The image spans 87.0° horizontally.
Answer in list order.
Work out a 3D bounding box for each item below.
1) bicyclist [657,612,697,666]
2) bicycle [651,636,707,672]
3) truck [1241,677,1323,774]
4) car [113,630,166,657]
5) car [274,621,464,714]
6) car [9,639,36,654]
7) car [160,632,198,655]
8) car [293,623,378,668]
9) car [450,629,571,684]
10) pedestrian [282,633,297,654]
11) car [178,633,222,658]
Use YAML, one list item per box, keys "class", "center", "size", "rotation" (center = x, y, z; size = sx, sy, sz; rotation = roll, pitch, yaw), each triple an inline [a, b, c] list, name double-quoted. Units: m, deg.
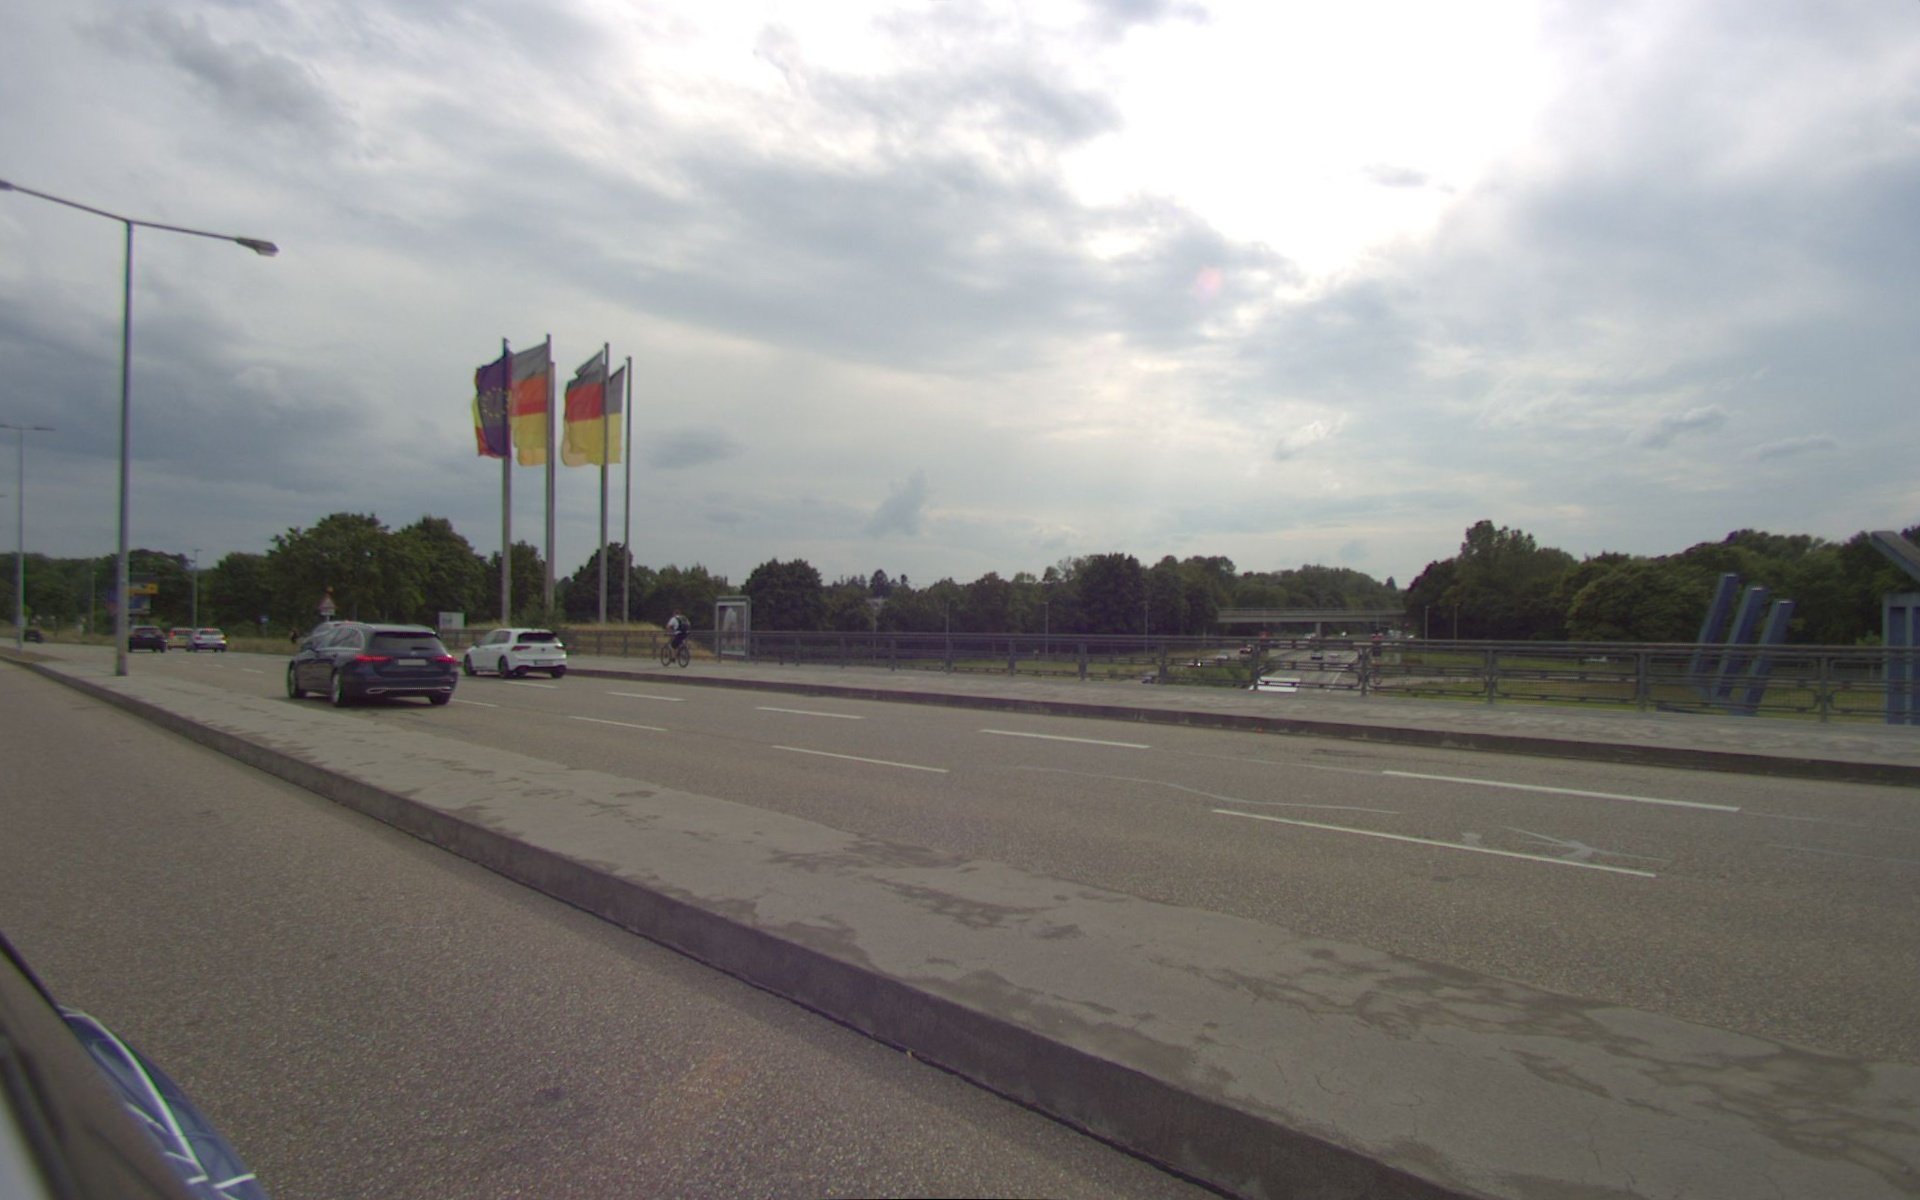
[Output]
- class: "bicyclist"
  center: [-8.851, 1.217, 31.637]
  size: [0.976, 1.639, 0.786]
  rotation: [-1, 0, 41]
- class: "bicycle"
  center: [-8.782, 1.668, 31.581]
  size: [2.059, 1.057, 0.699]
  rotation: [-1, -1, 41]
- class: "truck"
  center: [19.707, 7.241, 61.233]
  size: [3.013, 4.376, 13.887]
  rotation: [0, -1, 25]
- class: "car"
  center: [-48.287, 2.560, 59.551]
  size: [4.314, 1.527, 1.721]
  rotation: [-1, -3, 42]
- class: "car"
  center: [-10.919, 1.164, 18.543]
  size: [4.777, 1.492, 1.719]
  rotation: [-2, -3, 44]
- class: "car"
  center: [-97.512, 4.829, 105.263]
  size: [4.177, 1.452, 1.744]
  rotation: [-2, -4, 44]
- class: "car"
  center: [-55.626, 3.105, 72.074]
  size: [3.690, 1.590, 1.531]
  rotation: [-2, -4, 43]
- class: "car"
  center: [-25.771, 1.833, 41.681]
  size: [4.772, 1.738, 1.841]
  rotation: [-1, -3, 45]
- class: "car"
  center: [-13.469, 1.649, 30.204]
  size: [4.472, 1.492, 1.719]
  rotation: [-1, -3, 44]
- class: "pedestrian"
  center: [-54.101, 3.500, 81.679]
  size: [0.853, 1.706, 0.681]
  rotation: [1, -3, -26]
- class: "car"
  center: [-47.932, 2.870, 63.805]
  size: [4.017, 1.527, 1.631]
  rotation: [-2, -4, 45]
